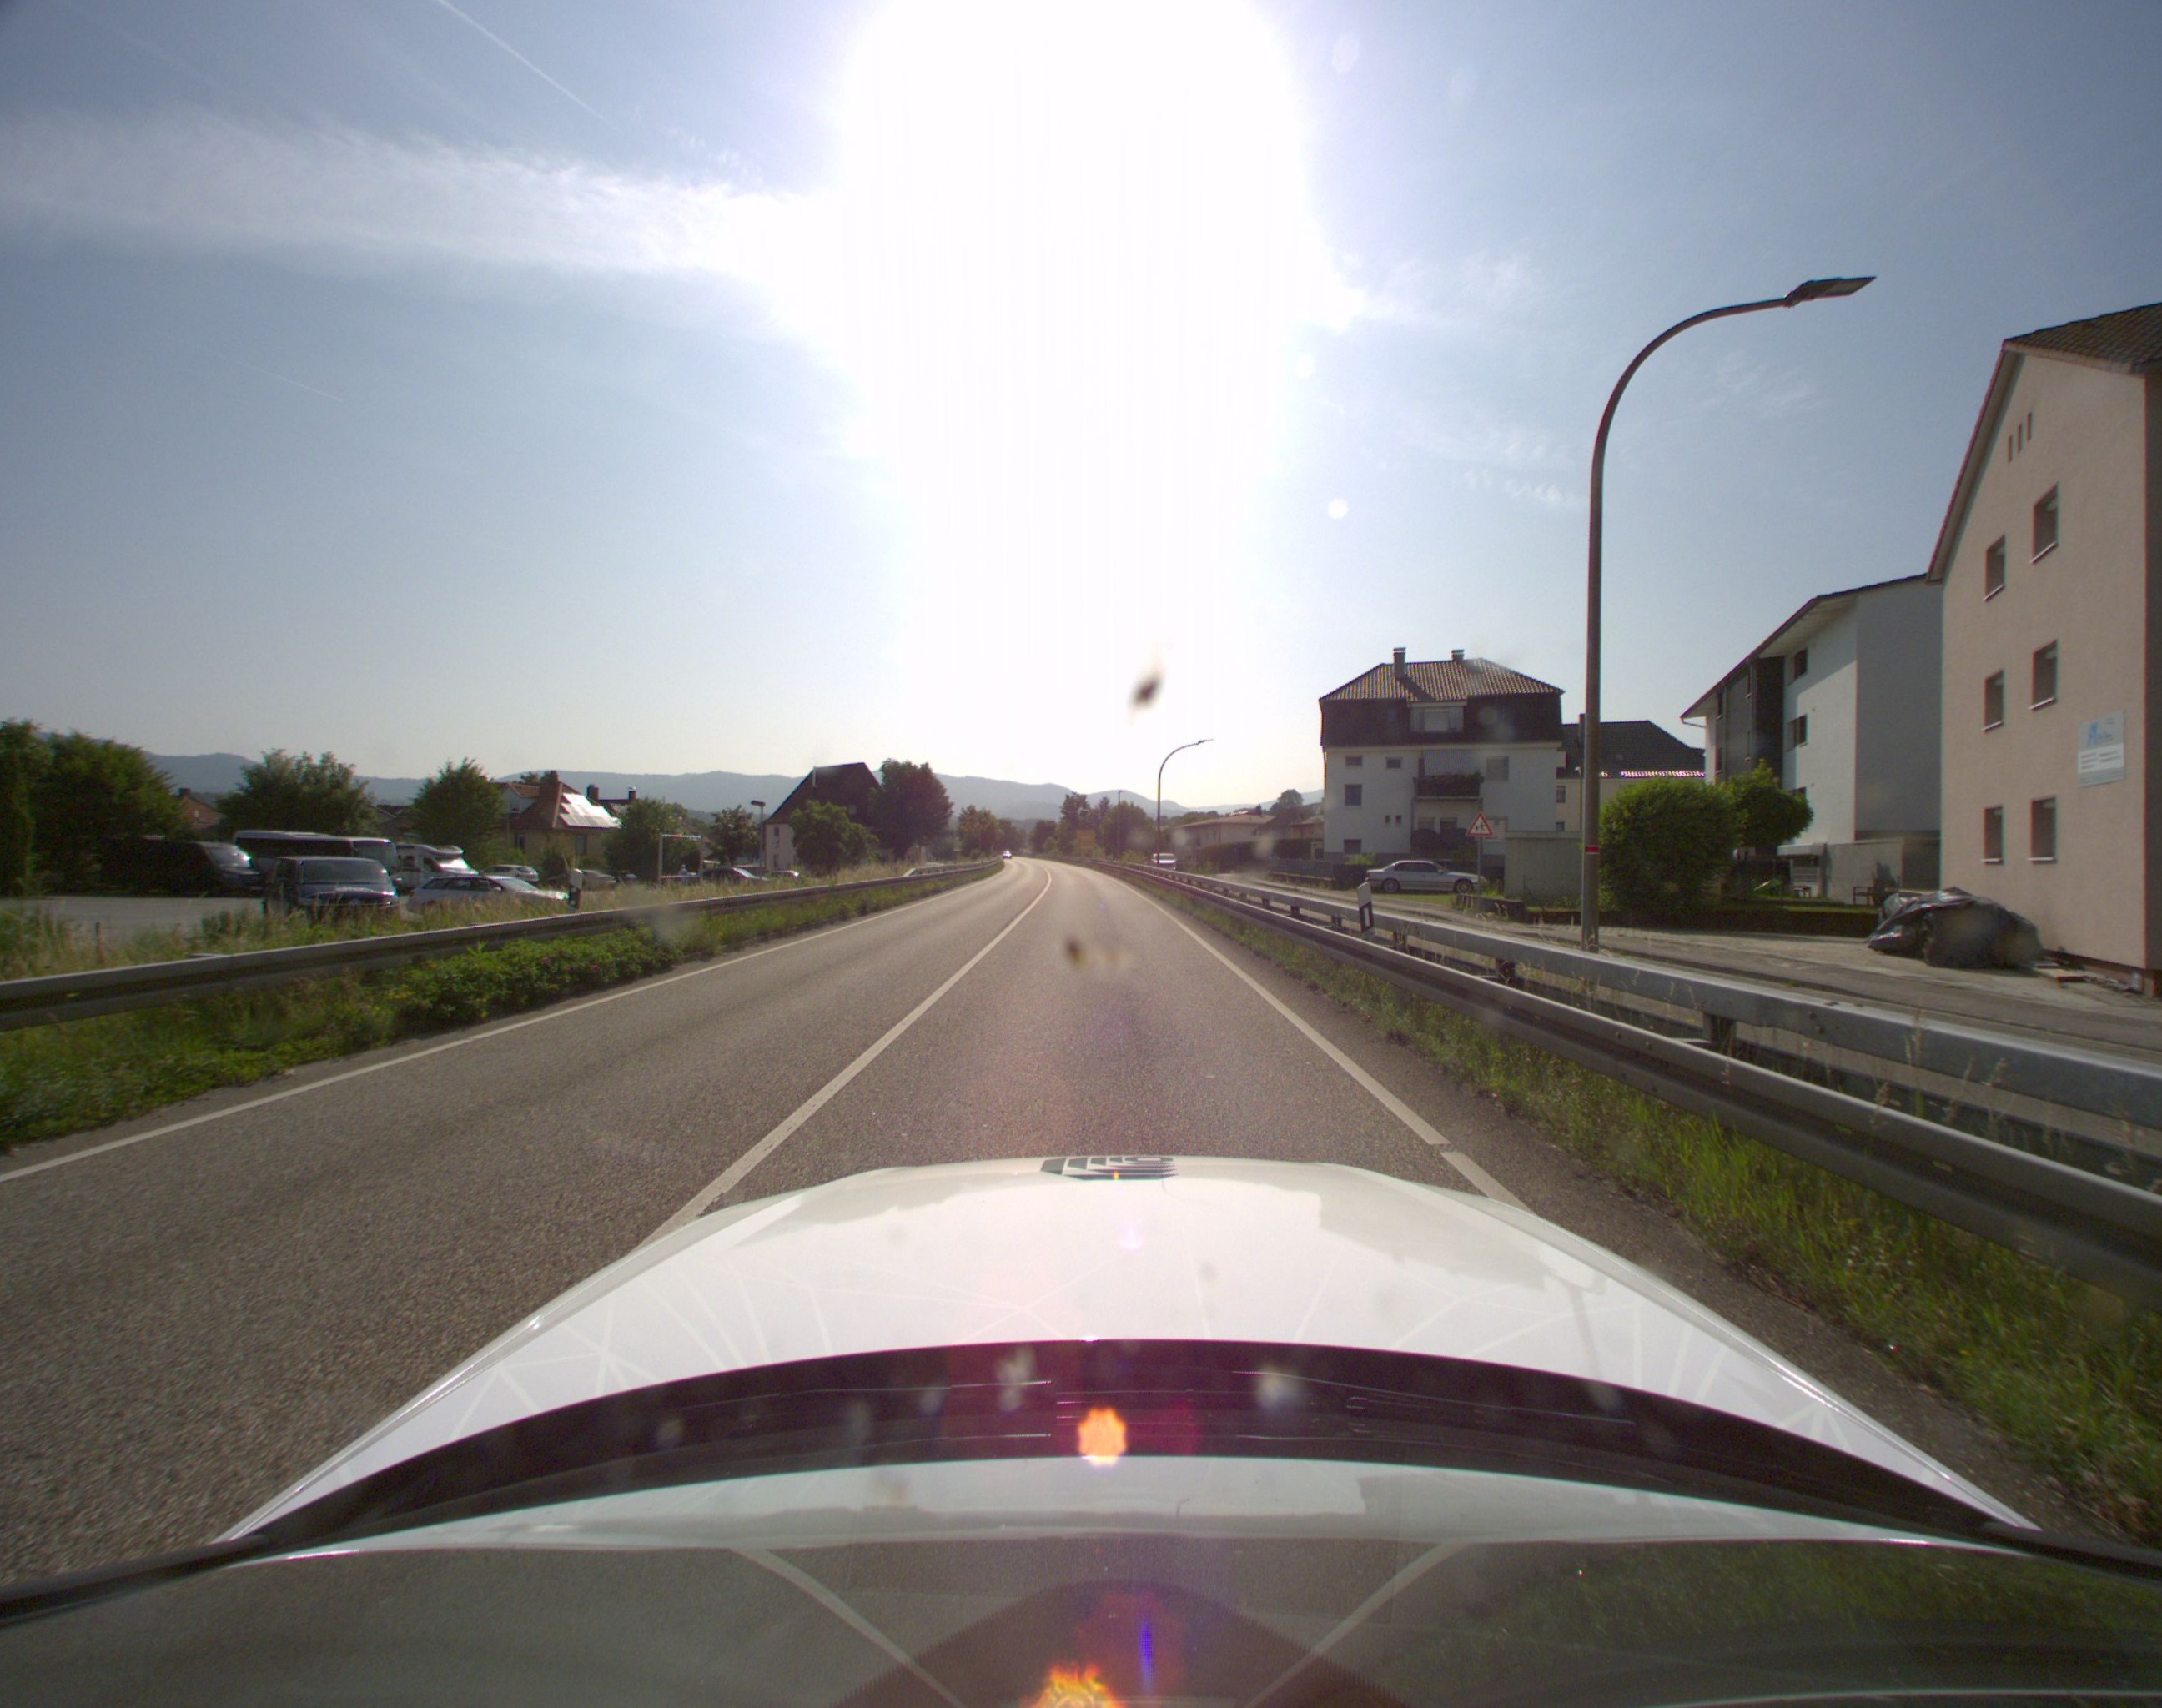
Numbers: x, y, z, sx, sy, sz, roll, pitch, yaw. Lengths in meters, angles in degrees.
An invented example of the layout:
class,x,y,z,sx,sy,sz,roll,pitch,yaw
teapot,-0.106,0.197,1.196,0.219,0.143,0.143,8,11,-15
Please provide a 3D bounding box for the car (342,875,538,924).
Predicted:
class,x,y,z,sx,sy,sz,roll,pitch,yaw
car,-19.976,1.401,25.535,4.606,1.382,1.741,0,0,-4

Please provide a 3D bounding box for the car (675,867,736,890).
class,x,y,z,sx,sy,sz,roll,pitch,yaw
car,-31.063,2.043,67.449,4.132,1.634,1.867,3,-2,10

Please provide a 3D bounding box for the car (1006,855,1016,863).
class,x,y,z,sx,sy,sz,roll,pitch,yaw
car,-13.212,0.869,153.521,1.754,1.410,3.984,-2,0,-4

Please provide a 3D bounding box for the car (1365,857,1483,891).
class,x,y,z,sx,sy,sz,roll,pitch,yaw
car,14.895,0.864,35.417,4.553,1.348,1.766,-1,1,27

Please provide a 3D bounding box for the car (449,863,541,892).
class,x,y,z,sx,sy,sz,roll,pitch,yaw
car,-36.552,1.436,50.833,4.534,1.633,1.865,1,0,7

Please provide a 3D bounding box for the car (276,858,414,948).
class,x,y,z,sx,sy,sz,roll,pitch,yaw
car,-18.857,1.131,20.796,4.843,2.013,2.012,0,0,41

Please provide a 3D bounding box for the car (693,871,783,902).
class,x,y,z,sx,sy,sz,roll,pitch,yaw
car,-19.212,1.799,45.753,4.290,1.665,1.872,0,0,-4

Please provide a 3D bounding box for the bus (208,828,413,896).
class,x,y,z,sx,sy,sz,roll,pitch,yaw
bus,-40.843,0.375,43.285,9.050,3.354,2.671,1,1,7

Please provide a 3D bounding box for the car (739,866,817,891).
class,x,y,z,sx,sy,sz,roll,pitch,yaw
car,-19.303,1.568,52.035,4.285,1.504,1.874,0,0,0

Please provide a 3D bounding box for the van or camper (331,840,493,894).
class,x,y,z,sx,sy,sz,roll,pitch,yaw
van or camper,-38.179,0.730,46.614,7.355,2.842,2.753,1,0,7

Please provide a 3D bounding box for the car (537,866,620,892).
class,x,y,z,sx,sy,sz,roll,pitch,yaw
car,-34.294,1.723,55.606,4.534,1.634,1.865,1,-2,7

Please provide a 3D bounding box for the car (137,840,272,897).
class,x,y,z,sx,sy,sz,roll,pitch,yaw
car,-43.030,0.683,40.019,4.995,2.660,1.865,1,0,7

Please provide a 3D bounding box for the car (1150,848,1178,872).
class,x,y,z,sx,sy,sz,roll,pitch,yaw
car,7.110,0.491,70.105,1.986,1.945,5.363,0,0,1

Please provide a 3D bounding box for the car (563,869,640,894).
class,x,y,z,sx,sy,sz,roll,pitch,yaw
car,-34.397,1.966,58.442,4.530,1.634,1.866,1,-2,10
